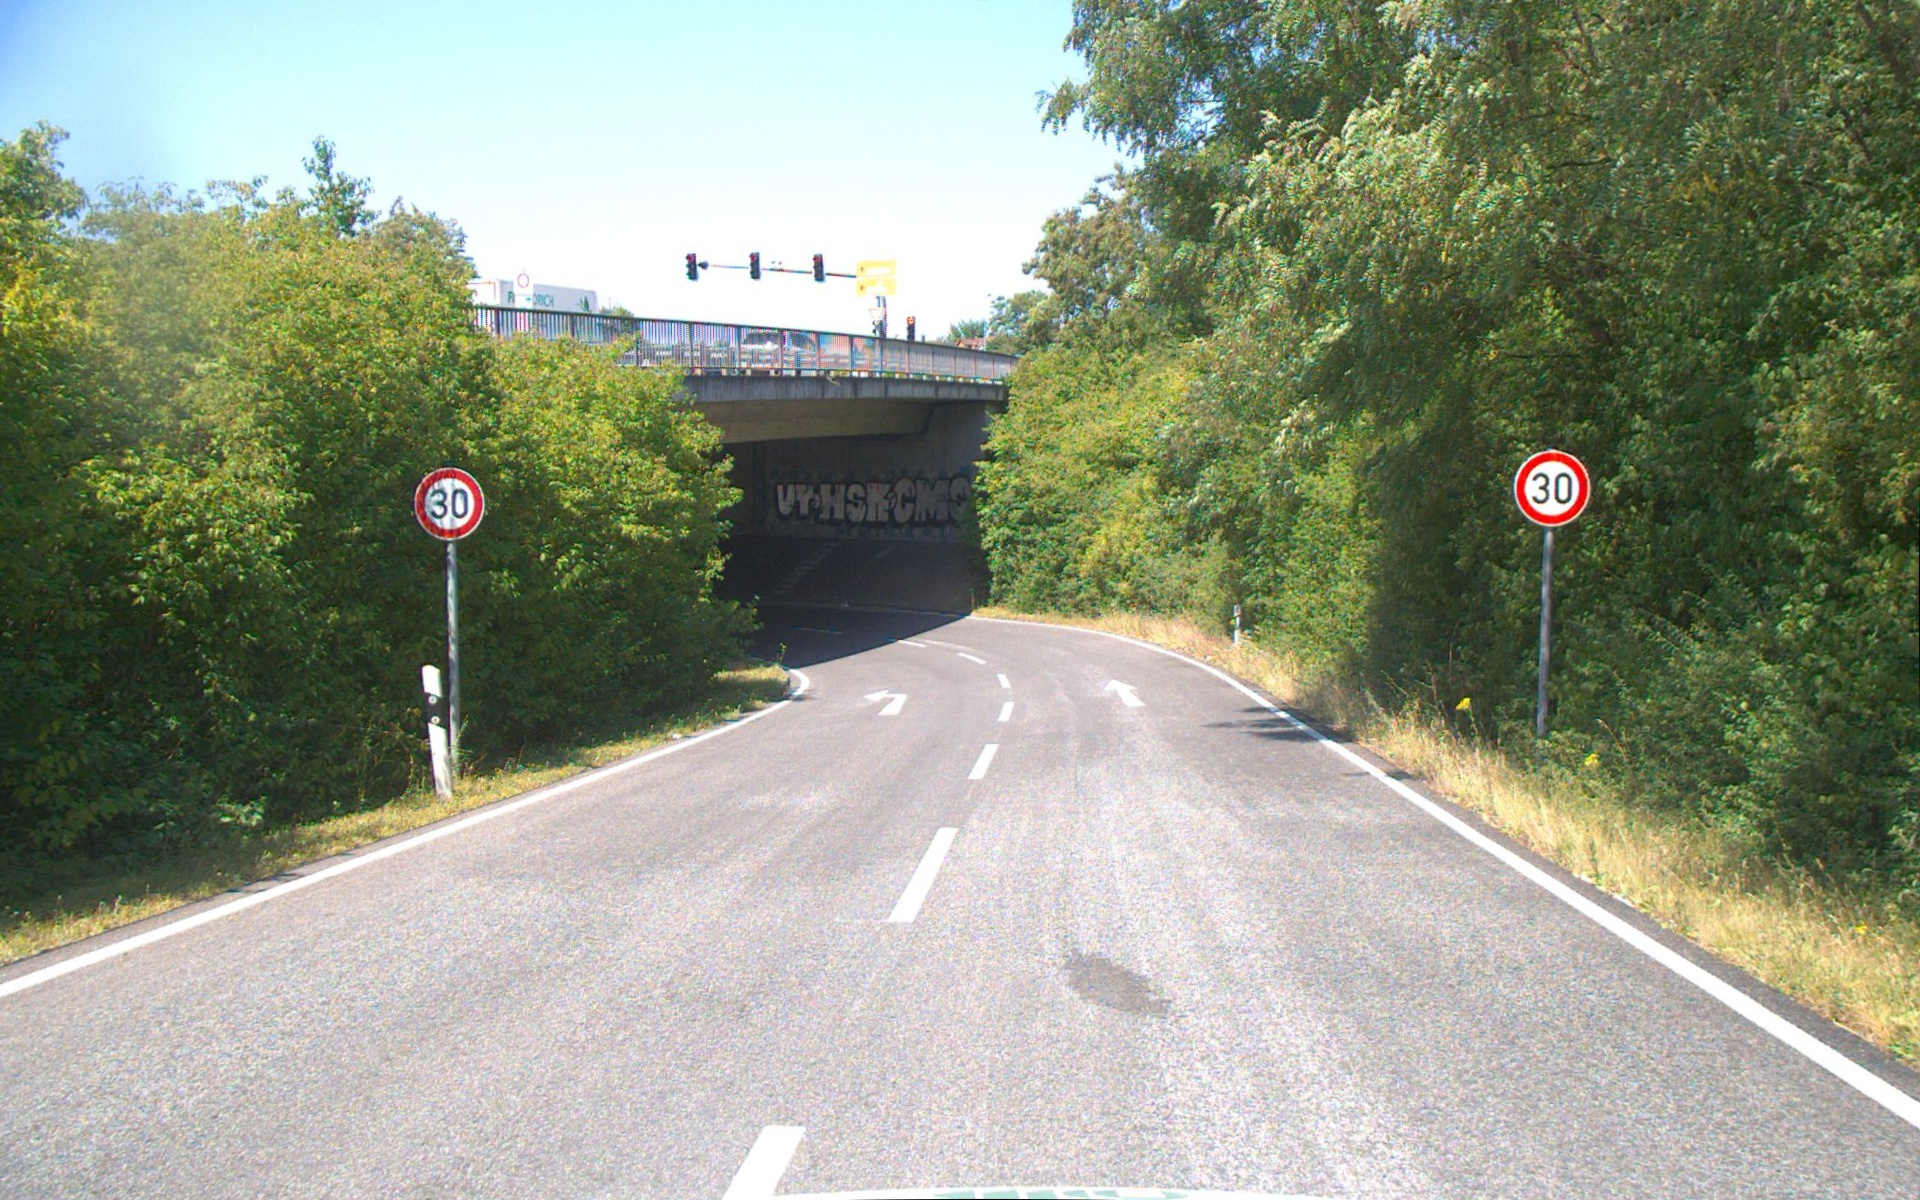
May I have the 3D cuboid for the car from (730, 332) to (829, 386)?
[{"bbox_3d":[-5.026,-6.747,46.483,1.577,1.210,3.483,0,4,16],"label":"car"}]

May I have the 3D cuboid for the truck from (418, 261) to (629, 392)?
[{"bbox_3d":[-14.972,-9.349,57.675,2.963,3.650,8.914,0,4,15],"label":"truck"}]

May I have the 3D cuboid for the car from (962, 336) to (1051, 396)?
[{"bbox_3d":[1.882,-9.200,65.366,1.955,2.048,3.997,1,4,28],"label":"car"}]
